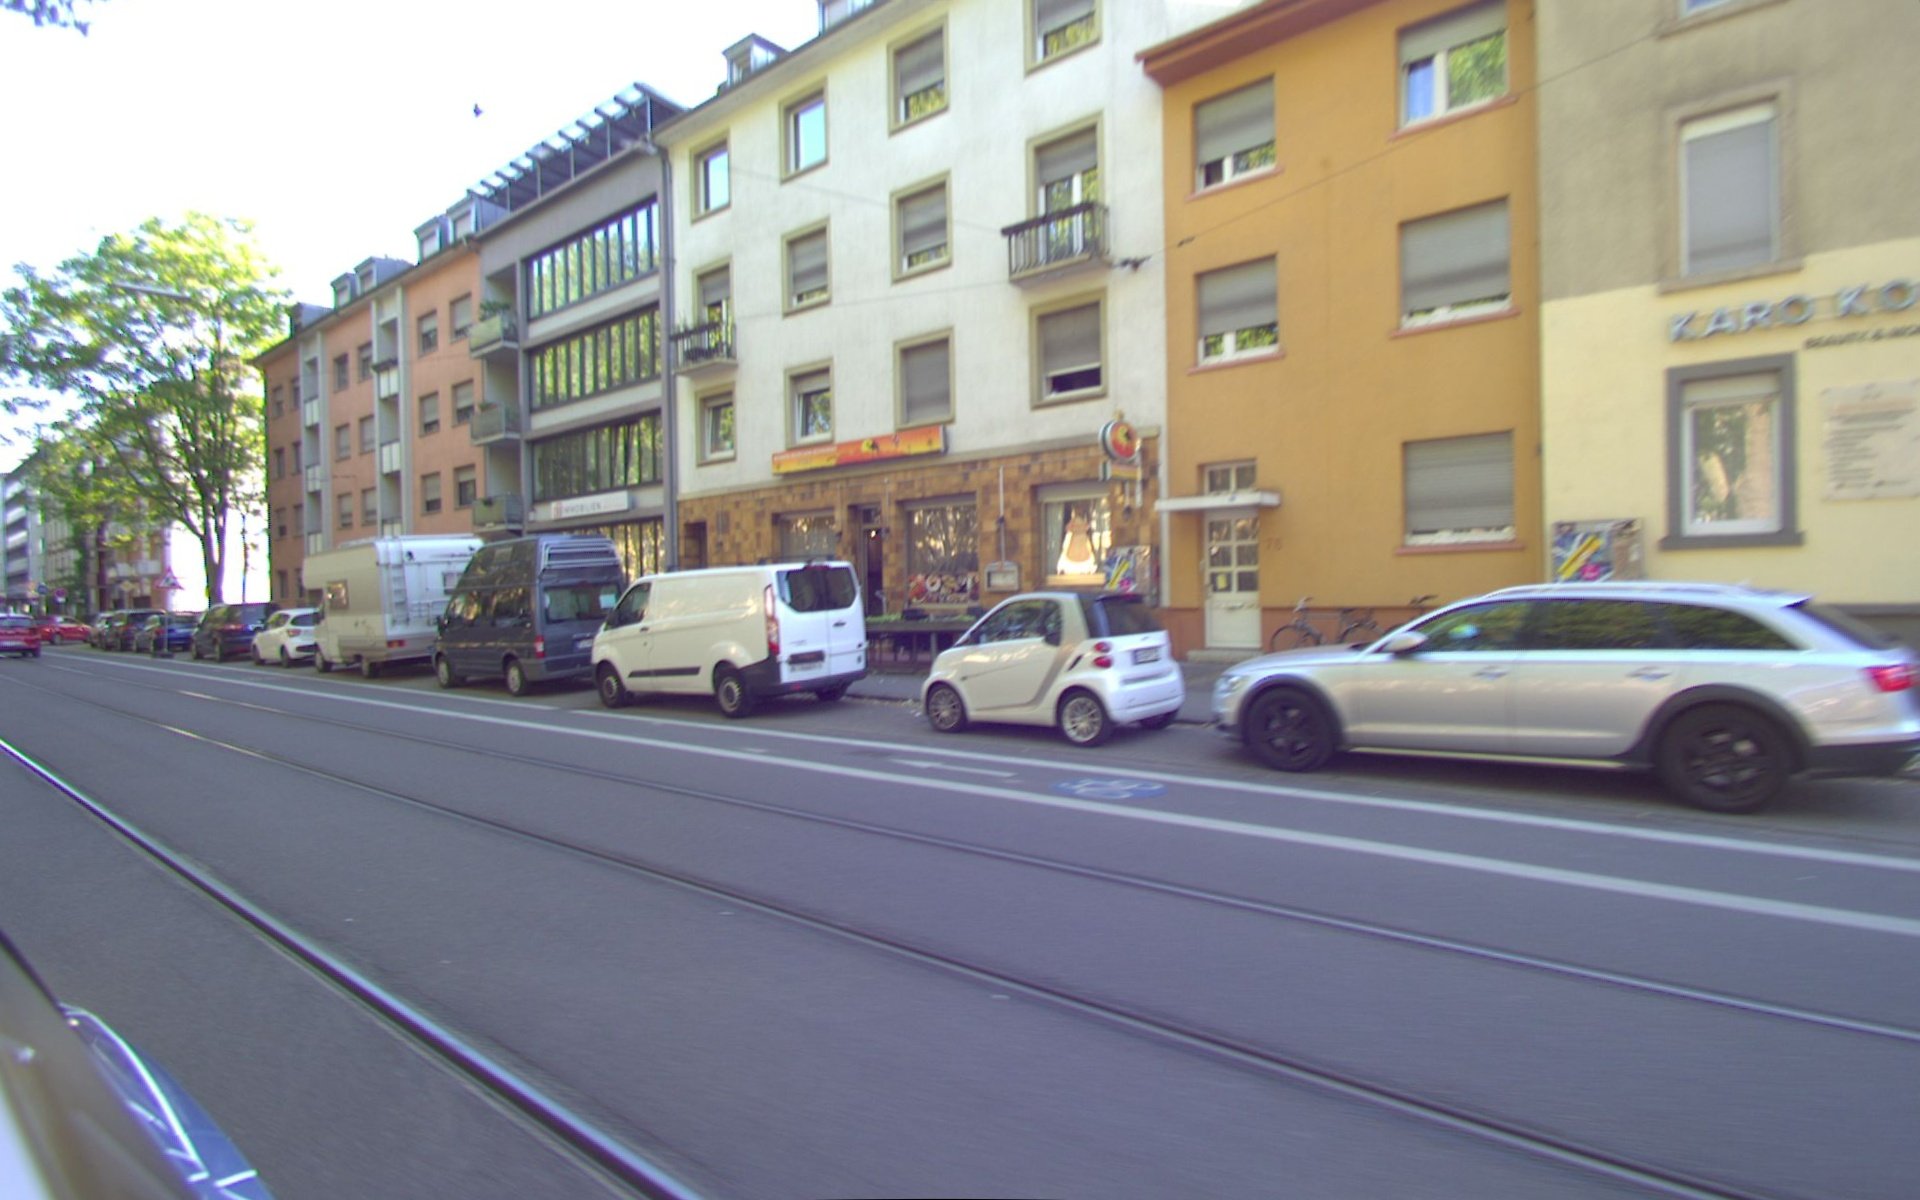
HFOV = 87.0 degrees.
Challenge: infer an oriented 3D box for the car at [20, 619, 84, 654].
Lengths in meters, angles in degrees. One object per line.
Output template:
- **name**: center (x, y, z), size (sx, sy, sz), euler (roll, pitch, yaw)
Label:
- **car**: center (-45.430, 1.800, 50.608), size (4.094, 1.607, 1.769), euler (-1, 1, 40)

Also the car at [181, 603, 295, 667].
- **car**: center (-22.118, 1.047, 30.942), size (4.431, 1.767, 1.769), euler (-1, 1, 40)

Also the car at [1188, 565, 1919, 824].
- **car**: center (4.456, 0.564, 7.911), size (4.935, 1.503, 1.754), euler (-1, 1, 38)

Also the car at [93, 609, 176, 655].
- **car**: center (-33.323, 1.275, 40.827), size (4.431, 1.682, 1.769), euler (-1, 1, 40)

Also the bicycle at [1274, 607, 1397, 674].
- **bicycle**: center (5.430, 0.576, 14.706), size (1.646, 0.935, 0.358), euler (-1, 0, 41)

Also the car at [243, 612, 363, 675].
- **car**: center (-17.822, 1.143, 27.414), size (3.470, 1.526, 1.769), euler (-1, 1, 40)

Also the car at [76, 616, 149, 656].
- **car**: center (-37.439, 1.574, 44.673), size (4.094, 1.607, 1.769), euler (-1, 1, 40)

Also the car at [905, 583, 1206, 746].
- **car**: center (0.986, 0.616, 11.035), size (2.881, 1.503, 1.554), euler (-1, 1, 41)

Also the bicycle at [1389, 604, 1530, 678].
- **bicycle**: center (6.679, 0.532, 13.583), size (1.646, 0.935, 0.358), euler (-1, 0, 41)

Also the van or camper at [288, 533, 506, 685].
- **van or camper**: center (-13.041, 0.174, 23.240), size (5.989, 2.999, 2.392), euler (-1, 4, 42)

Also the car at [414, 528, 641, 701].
- **car**: center (-8.067, 0.227, 18.673), size (4.544, 2.766, 1.903), euler (-1, 4, 41)

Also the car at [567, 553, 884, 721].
- **car**: center (-3.559, 0.466, 14.781), size (4.937, 2.061, 1.903), euler (-1, 1, 40)

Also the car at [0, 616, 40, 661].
- **car**: center (-32.728, 1.299, 34.399), size (3.584, 1.468, 1.746), euler (-1, 0, 41)

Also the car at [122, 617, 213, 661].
- **car**: center (-29.547, 1.412, 37.698), size (4.431, 1.482, 1.769), euler (-1, 1, 40)

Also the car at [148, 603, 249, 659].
- **car**: center (-26.004, 1.032, 34.527), size (4.431, 1.767, 1.769), euler (-1, 1, 40)
